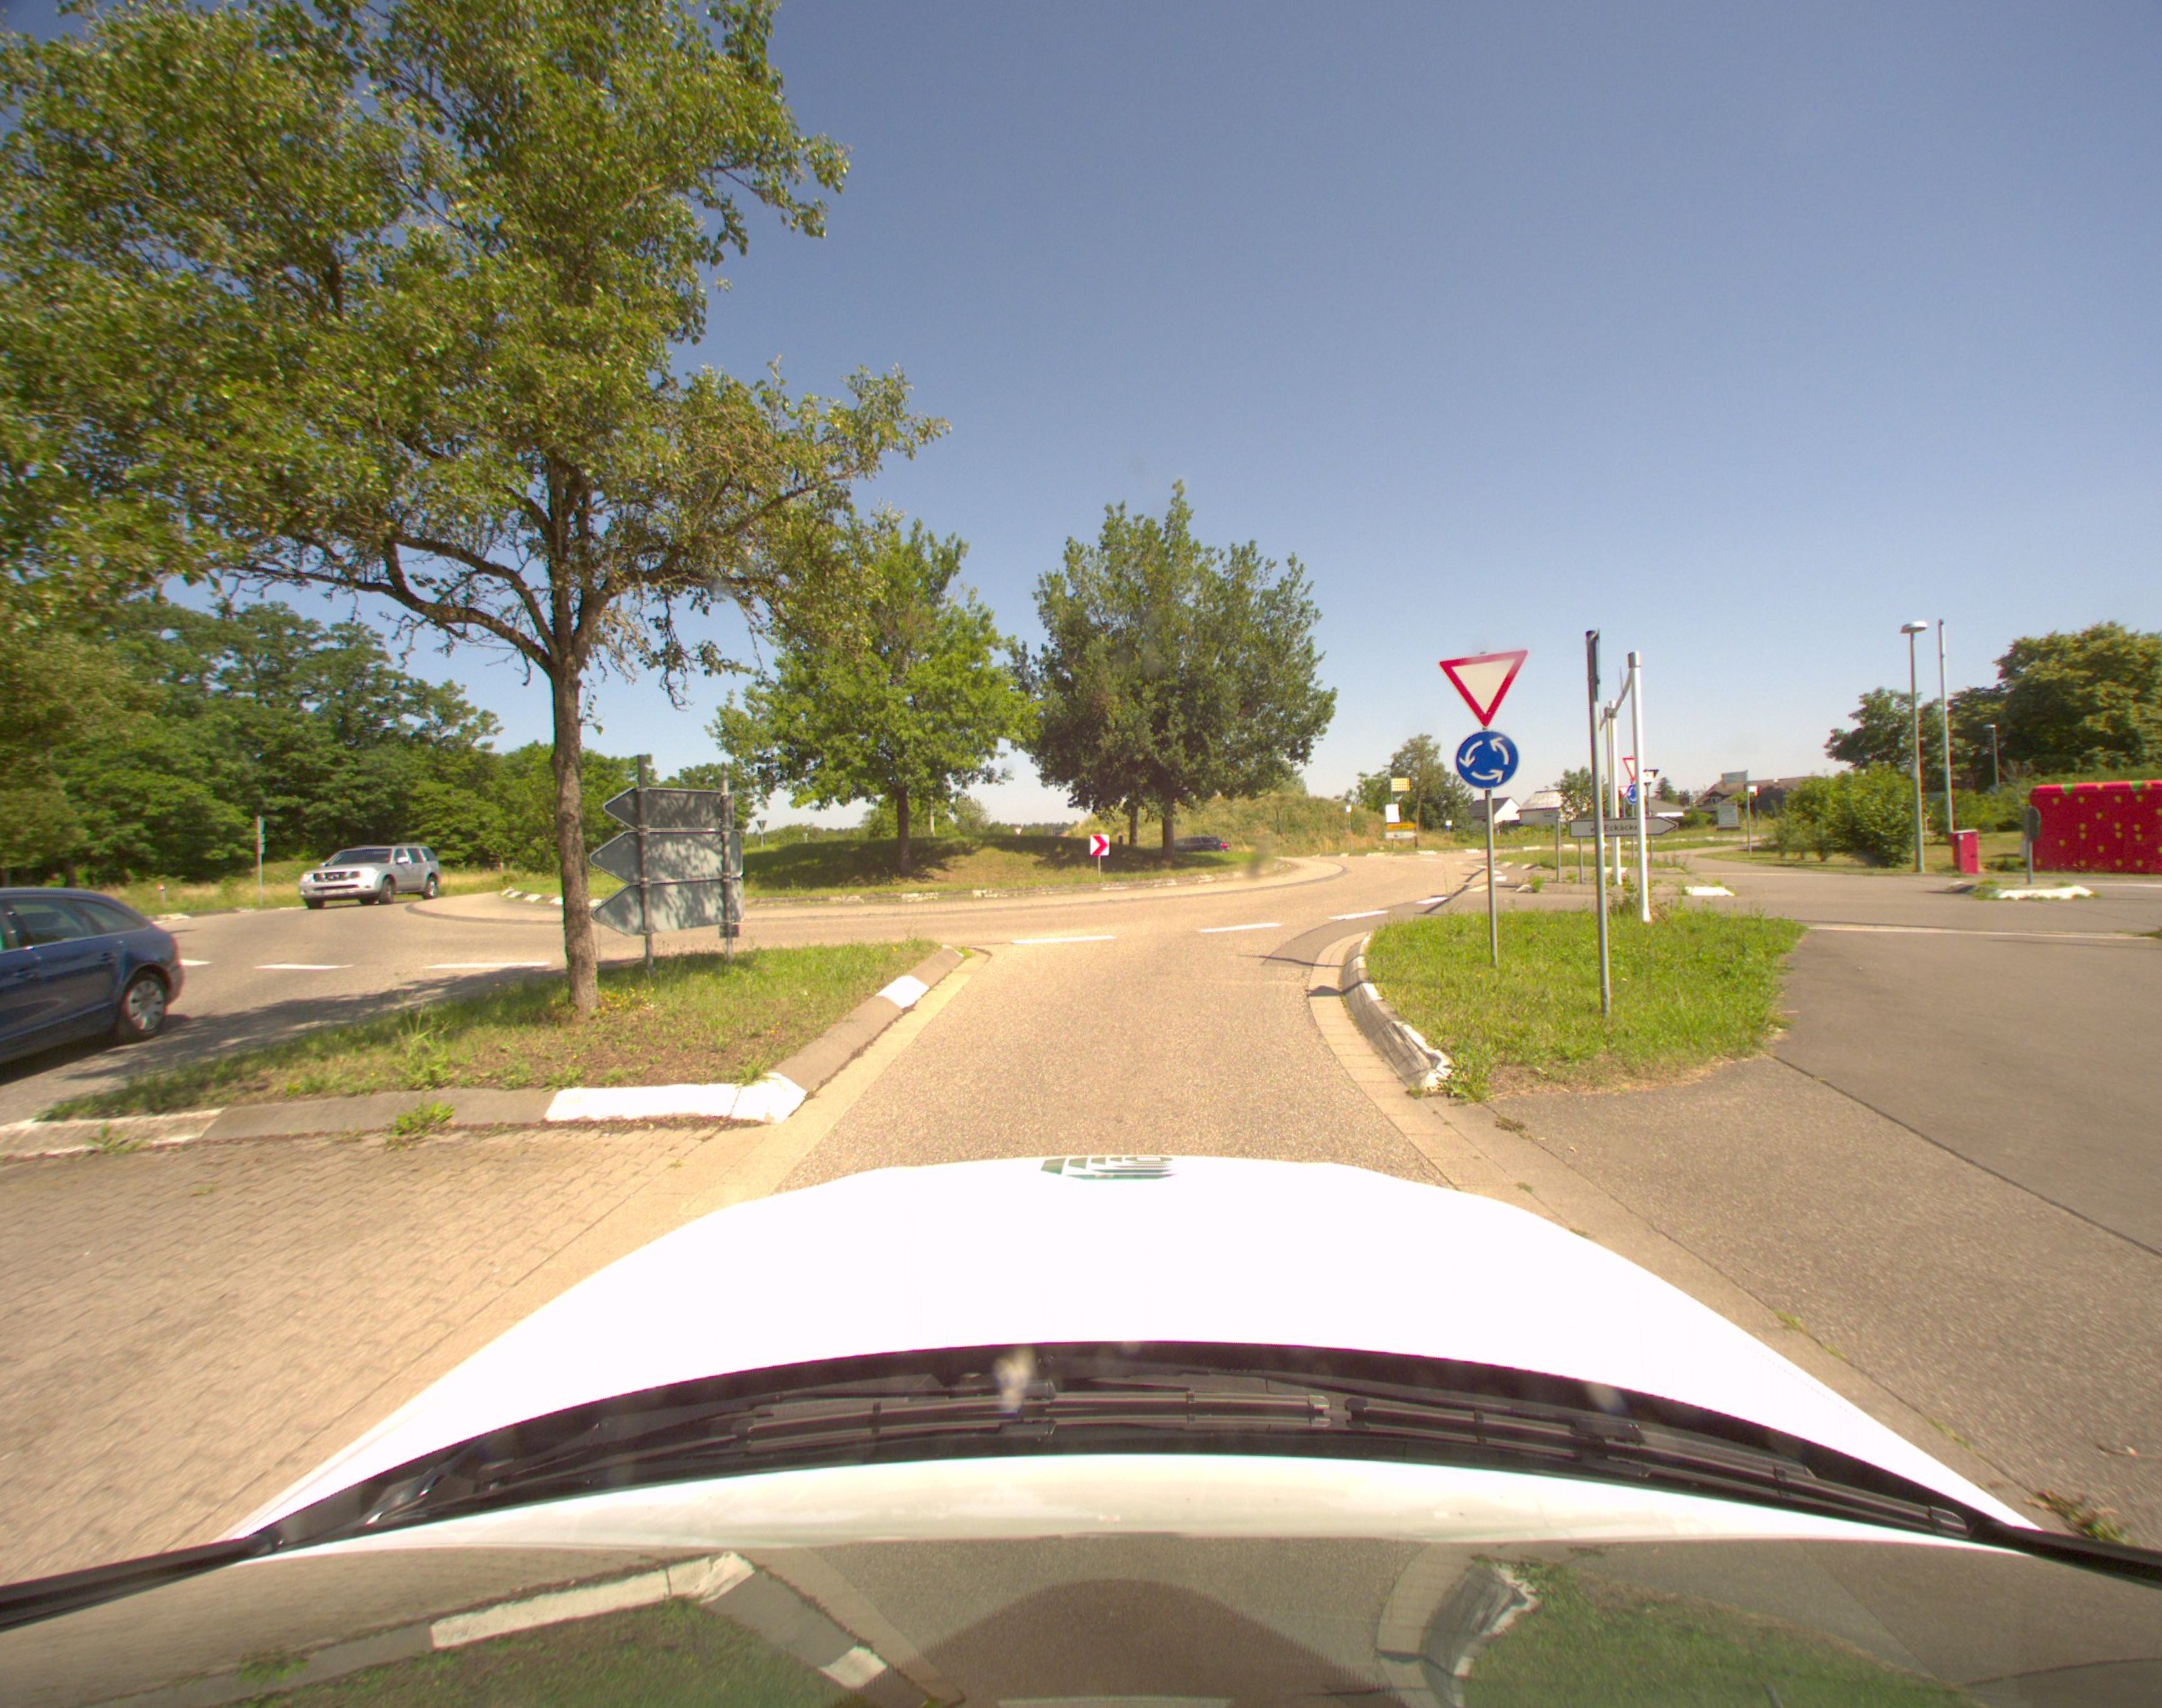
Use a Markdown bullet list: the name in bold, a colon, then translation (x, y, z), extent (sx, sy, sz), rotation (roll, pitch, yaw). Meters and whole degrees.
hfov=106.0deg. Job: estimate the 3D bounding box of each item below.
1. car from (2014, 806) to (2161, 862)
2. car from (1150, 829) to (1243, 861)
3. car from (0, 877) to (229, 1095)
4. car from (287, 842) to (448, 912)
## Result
- **car**: translation (28.290, -0.554, 22.013), extent (1.730, 1.445, 3.739), rotation (-3, 2, -27)
- **car**: translation (6.383, -0.474, 44.855), extent (4.720, 1.592, 2.010), rotation (-1, 1, 19)
- **car**: translation (-8.379, 0.976, 5.654), extent (1.842, 1.387, 4.388), rotation (-4, 2, -25)
- **car**: translation (-21.155, 0.604, 24.433), extent (1.899, 1.815, 4.568), rotation (-3, 1, -18)
